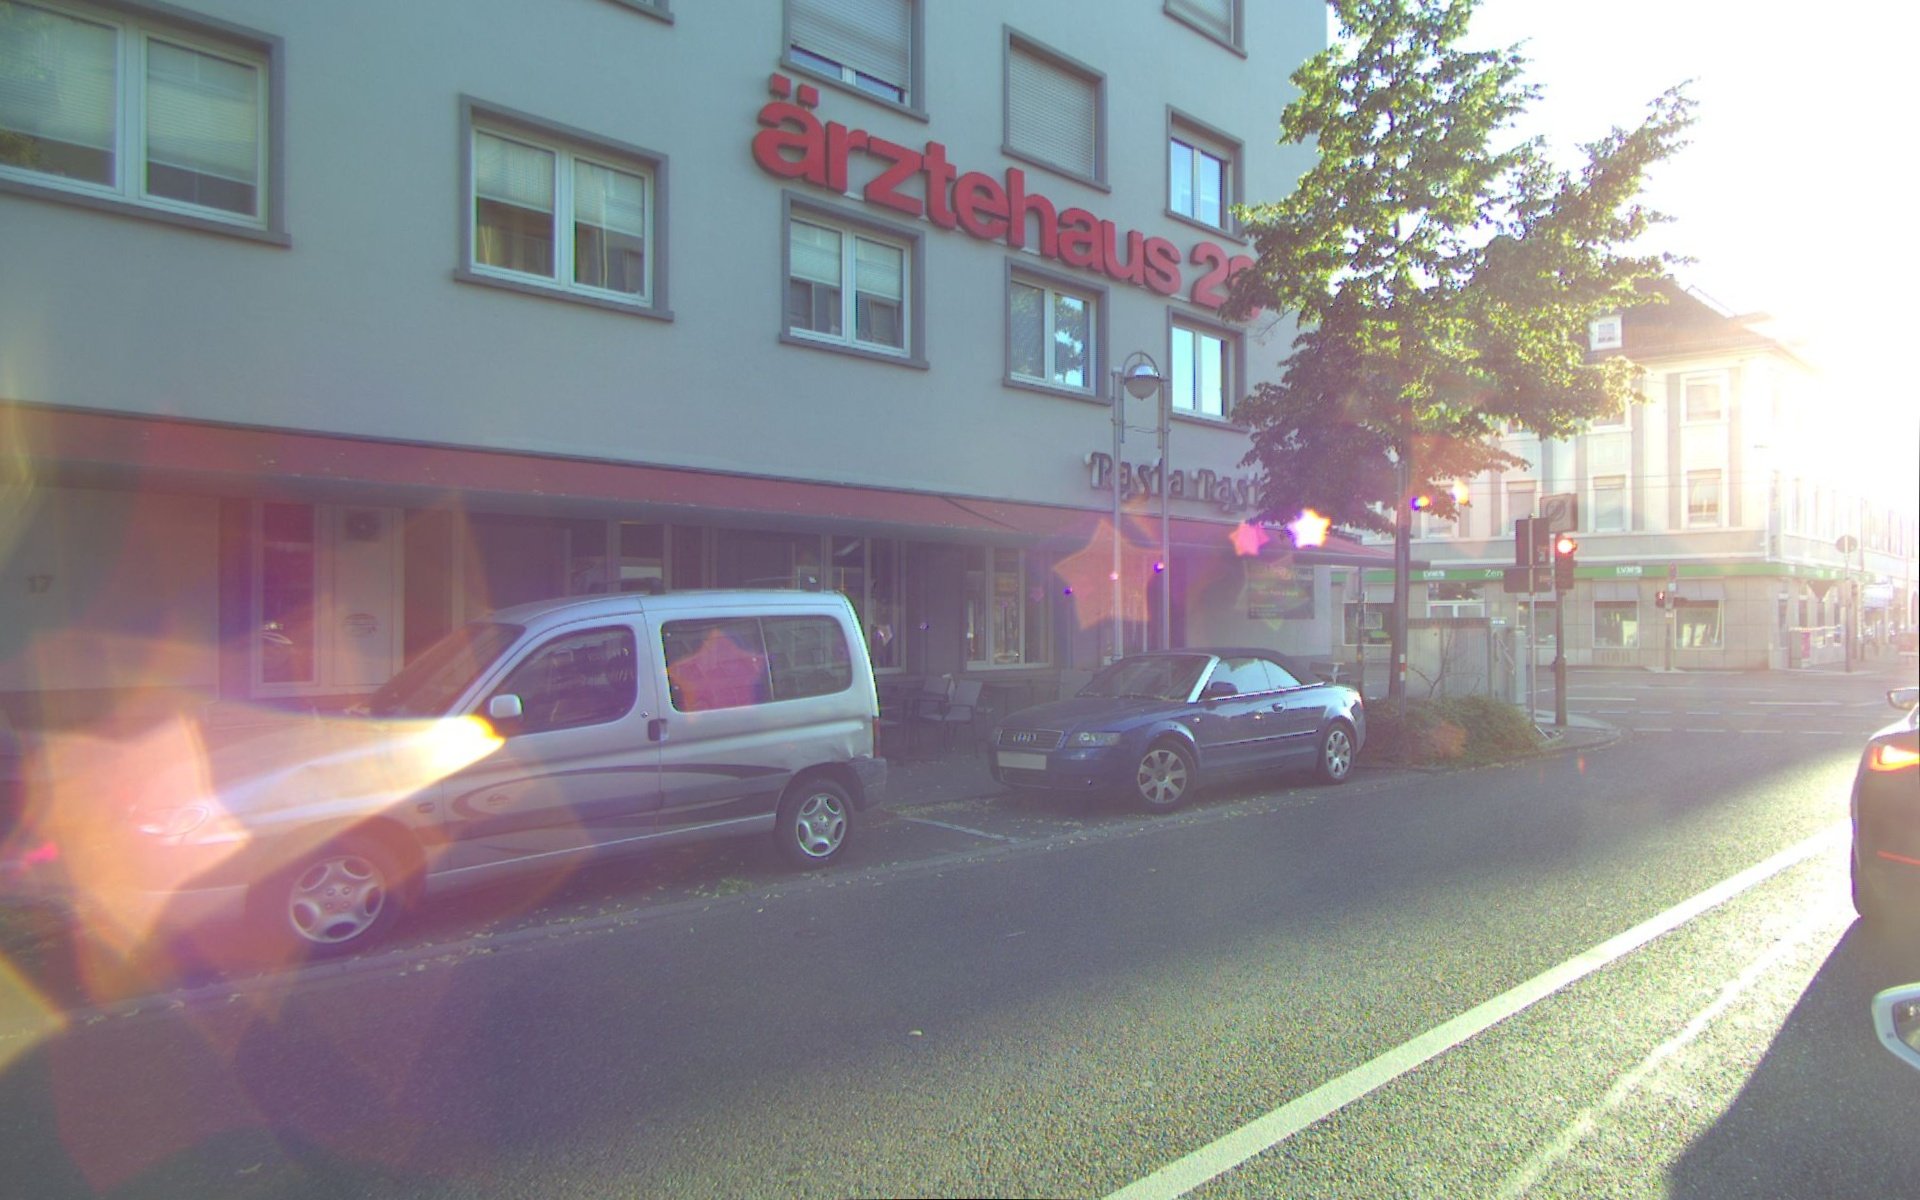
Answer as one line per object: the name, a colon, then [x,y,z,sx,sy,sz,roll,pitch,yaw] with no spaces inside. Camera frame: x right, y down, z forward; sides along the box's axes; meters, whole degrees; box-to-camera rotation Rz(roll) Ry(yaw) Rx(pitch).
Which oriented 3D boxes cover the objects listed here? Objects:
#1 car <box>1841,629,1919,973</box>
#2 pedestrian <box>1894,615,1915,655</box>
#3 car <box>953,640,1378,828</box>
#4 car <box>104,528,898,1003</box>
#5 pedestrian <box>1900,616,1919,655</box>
car: [6.065,0.894,5.117,4.188,1.447,1.723,1,-1,-39]
pedestrian: [46.401,1.720,49.358,0.626,1.901,0.638,1,0,-38]
car: [2.118,1.121,9.702,4.244,1.434,1.710,2,-4,-39]
car: [-2.468,0.752,6.027,4.022,1.912,1.655,2,-4,-41]
pedestrian: [47.099,1.736,49.719,0.606,1.901,0.678,1,0,27]
